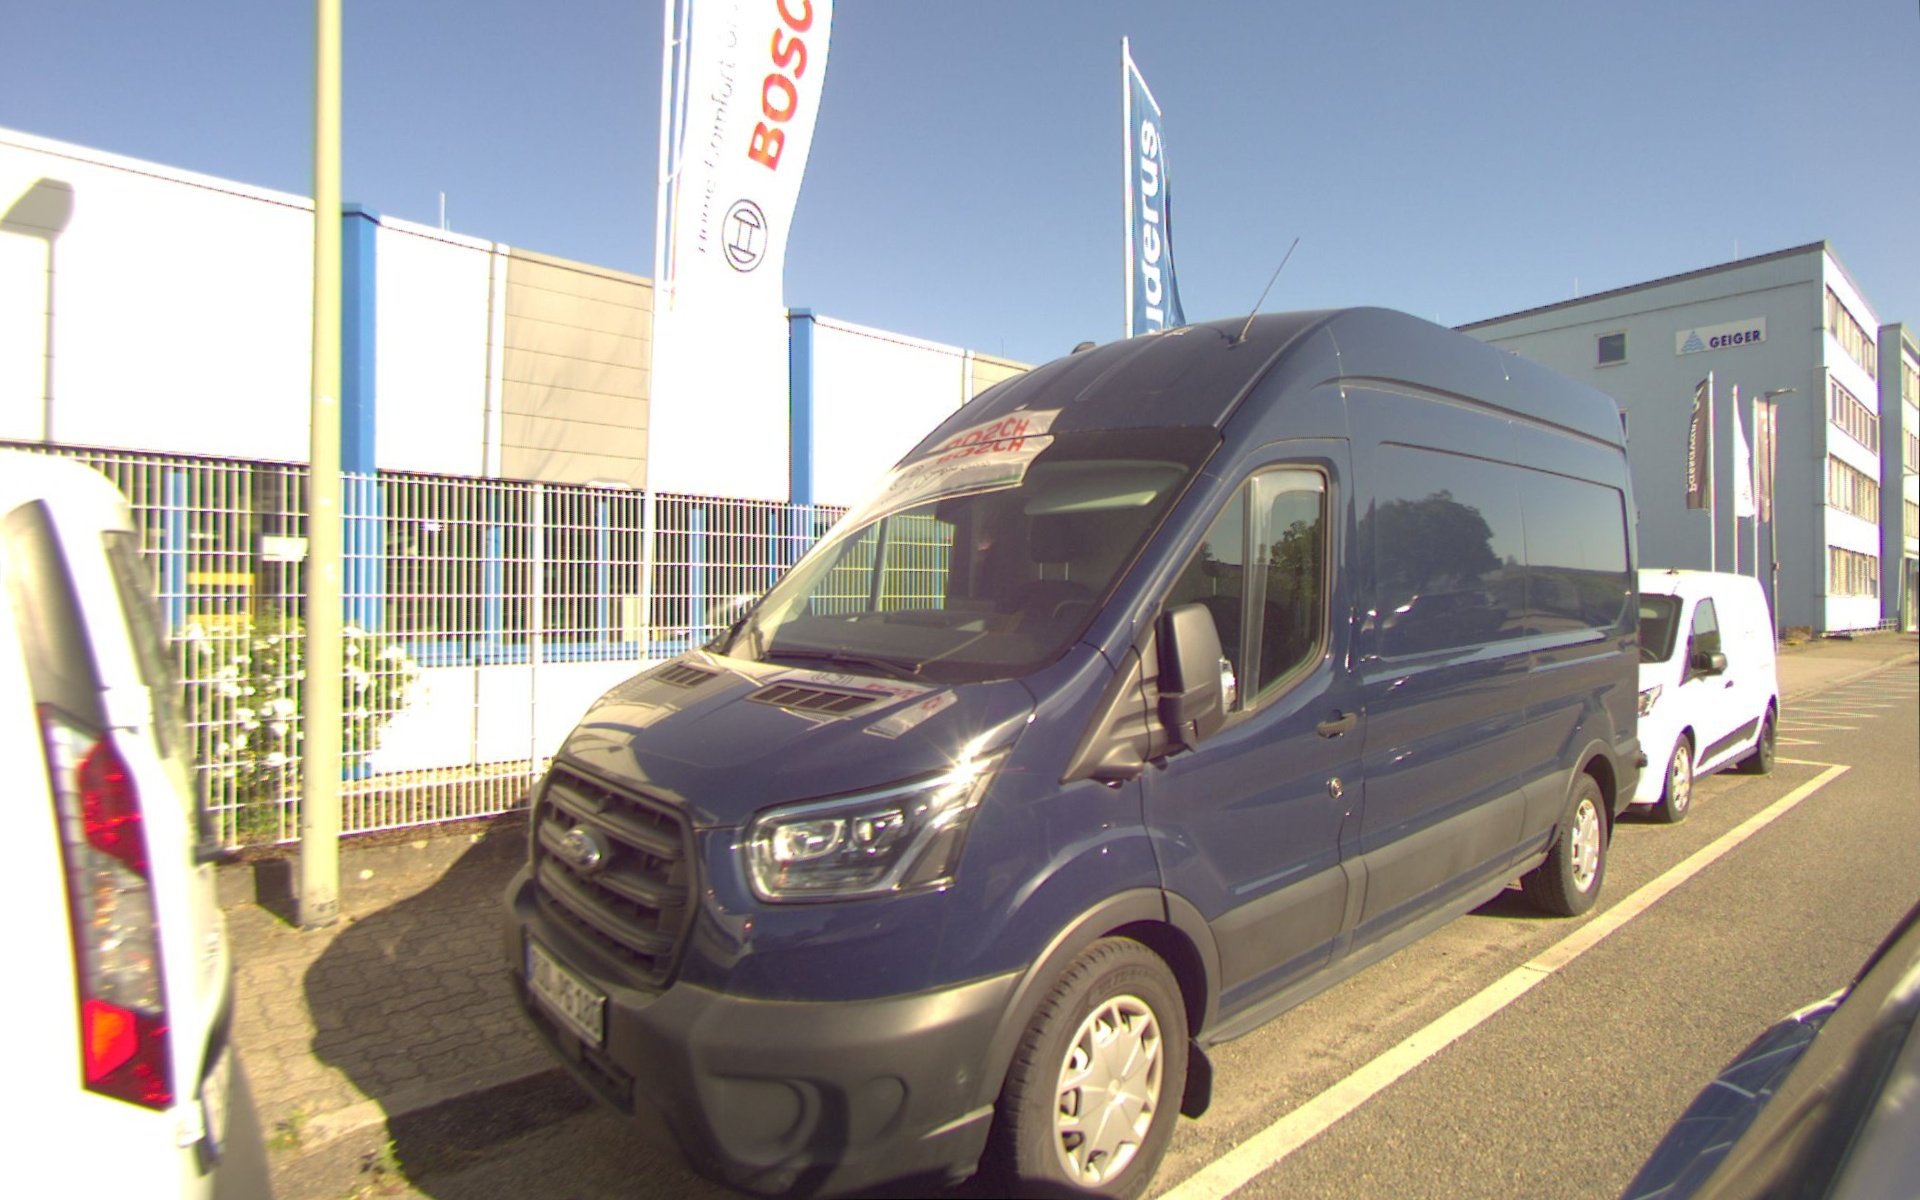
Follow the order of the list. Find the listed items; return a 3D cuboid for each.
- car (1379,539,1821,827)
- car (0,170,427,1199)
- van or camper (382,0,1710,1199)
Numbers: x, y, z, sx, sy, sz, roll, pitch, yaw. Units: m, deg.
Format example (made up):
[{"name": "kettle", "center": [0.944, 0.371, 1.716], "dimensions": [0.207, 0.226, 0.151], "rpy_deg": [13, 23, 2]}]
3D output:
[{"name": "car", "center": [5.761, 0.502, 8.781], "dimensions": [5.017, 1.820, 1.888], "rpy_deg": [-1, -1, -42]}, {"name": "car", "center": [-3.292, 0.491, 0.564], "dimensions": [5.015, 1.870, 1.888], "rpy_deg": [-2, -1, -41]}, {"name": "van or camper", "center": [1.122, 0.005, 4.459], "dimensions": [6.054, 2.795, 2.144], "rpy_deg": [-1, -1, -41]}]
